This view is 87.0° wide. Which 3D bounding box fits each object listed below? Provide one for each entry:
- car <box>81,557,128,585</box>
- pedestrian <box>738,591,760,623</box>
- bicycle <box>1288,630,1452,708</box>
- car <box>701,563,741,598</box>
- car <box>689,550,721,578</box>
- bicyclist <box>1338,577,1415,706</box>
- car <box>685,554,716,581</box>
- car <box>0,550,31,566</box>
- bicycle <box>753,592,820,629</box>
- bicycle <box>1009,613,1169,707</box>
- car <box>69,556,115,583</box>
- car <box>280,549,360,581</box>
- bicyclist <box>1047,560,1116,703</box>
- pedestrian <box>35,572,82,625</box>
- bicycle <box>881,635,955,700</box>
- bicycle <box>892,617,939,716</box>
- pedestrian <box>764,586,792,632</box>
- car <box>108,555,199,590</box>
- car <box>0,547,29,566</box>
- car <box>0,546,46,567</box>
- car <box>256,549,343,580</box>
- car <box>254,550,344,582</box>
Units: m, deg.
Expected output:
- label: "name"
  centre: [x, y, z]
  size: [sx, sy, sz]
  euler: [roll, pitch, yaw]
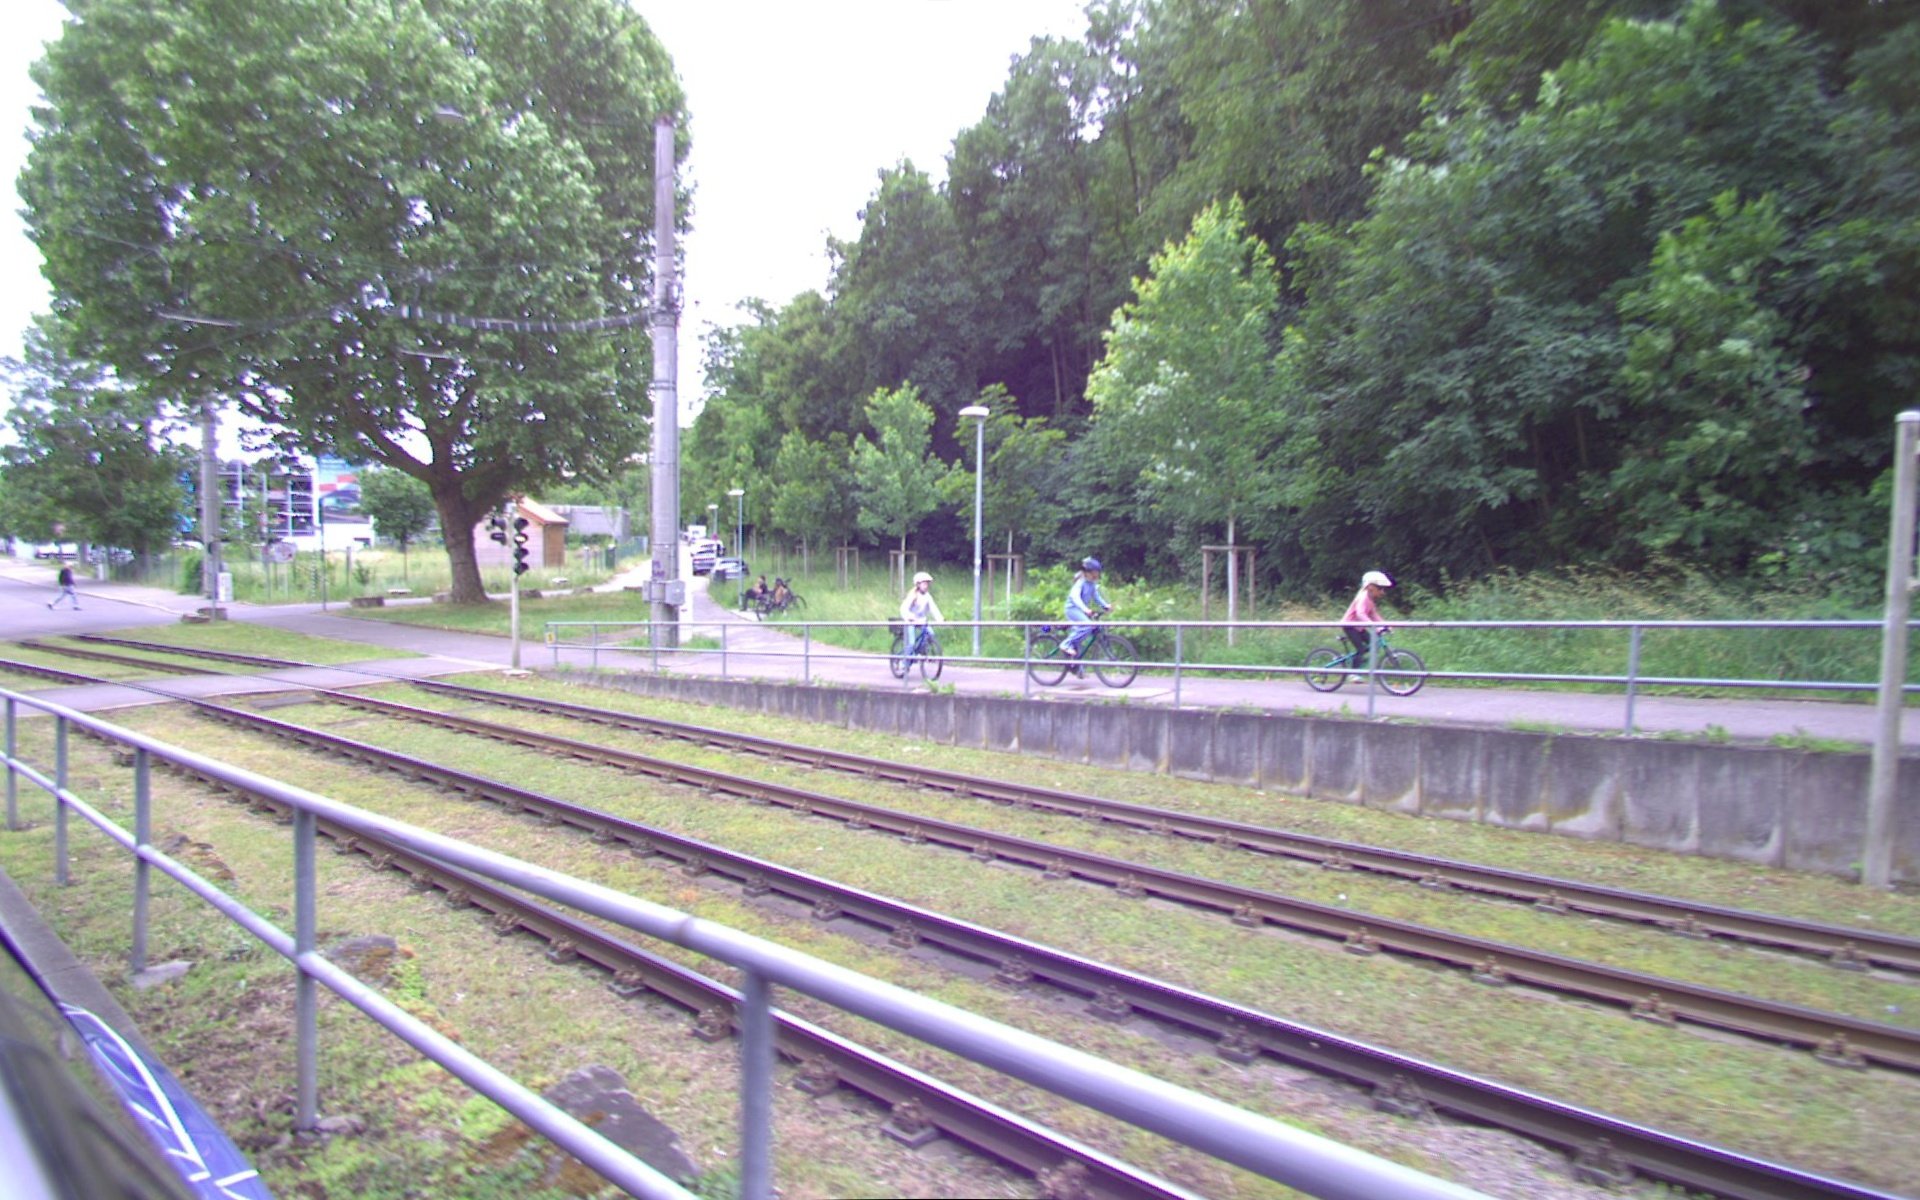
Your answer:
- label: "car"
  centre: [-71.224, -2.454, 84.270]
  size: [4.774, 2.131, 2.114]
  euler: [3, 7, 41]
- label: "pedestrian"
  centre: [-6.998, 0.235, 33.589]
  size: [0.523, 0.996, 0.622]
  euler: [-4, 6, -27]
- label: "bicycle"
  centre: [4.424, 0.737, 10.984]
  size: [1.558, 0.744, 0.449]
  euler: [-3, 3, 42]
- label: "car"
  centre: [-11.749, -1.001, 49.622]
  size: [1.672, 1.434, 3.515]
  euler: [-3, 6, -15]
- label: "car"
  centre: [-16.772, -2.394, 66.375]
  size: [1.878, 1.624, 3.693]
  euler: [-3, 6, -15]
- label: "bicyclist"
  centre: [4.477, 0.439, 10.878]
  size: [0.581, 1.310, 0.449]
  euler: [-3, 2, 41]
- label: "car"
  centre: [-15.735, -1.994, 61.331]
  size: [1.672, 1.434, 3.515]
  euler: [-3, 6, -15]
- label: "car"
  centre: [-118.400, -5.156, 125.343]
  size: [2.107, 1.853, 4.581]
  euler: [3, 7, 39]
- label: "bicycle"
  centre: [-4.879, 0.285, 28.438]
  size: [1.716, 0.891, 0.624]
  euler: [-4, 6, -22]
- label: "bicycle"
  centre: [1.558, 0.705, 12.454]
  size: [1.941, 1.048, 0.469]
  euler: [-1, 5, 37]
- label: "car"
  centre: [-75.916, -2.689, 88.455]
  size: [4.772, 2.131, 2.115]
  euler: [3, 7, 39]
- label: "car"
  centre: [-56.529, -3.125, 89.552]
  size: [5.567, 2.478, 1.987]
  euler: [-4, 6, -23]
- label: "bicyclist"
  centre: [1.499, 0.372, 12.458]
  size: [0.622, 1.686, 0.469]
  euler: [-1, 4, 37]
- label: "pedestrian"
  centre: [-32.733, -0.069, 36.747]
  size: [0.814, 1.772, 1.105]
  euler: [3, 7, 44]
- label: "bicycle"
  centre: [-0.628, 0.939, 14.460]
  size: [0.447, 0.744, 1.658]
  euler: [-5, 4, -23]
- label: "bicycle"
  centre: [-0.642, 0.936, 14.514]
  size: [0.447, 1.339, 0.518]
  euler: [-5, 3, -23]
- label: "pedestrian"
  centre: [-5.334, 0.260, 29.600]
  size: [0.570, 1.244, 0.675]
  euler: [-4, 6, -28]
- label: "car"
  centre: [-62.718, -2.159, 78.733]
  size: [2.001, 2.283, 5.198]
  euler: [3, 7, 44]
- label: "car"
  centre: [-120.146, -5.447, 126.976]
  size: [2.107, 2.224, 4.581]
  euler: [3, 7, 39]
- label: "car"
  centre: [-109.559, -5.046, 117.654]
  size: [2.107, 2.224, 4.581]
  euler: [3, 7, 39]
- label: "car"
  centre: [-56.085, -3.058, 86.052]
  size: [5.752, 2.283, 2.061]
  euler: [-4, 6, -21]
- label: "car"
  centre: [-54.028, -2.816, 82.880]
  size: [5.763, 2.283, 2.061]
  euler: [-4, 6, -21]
